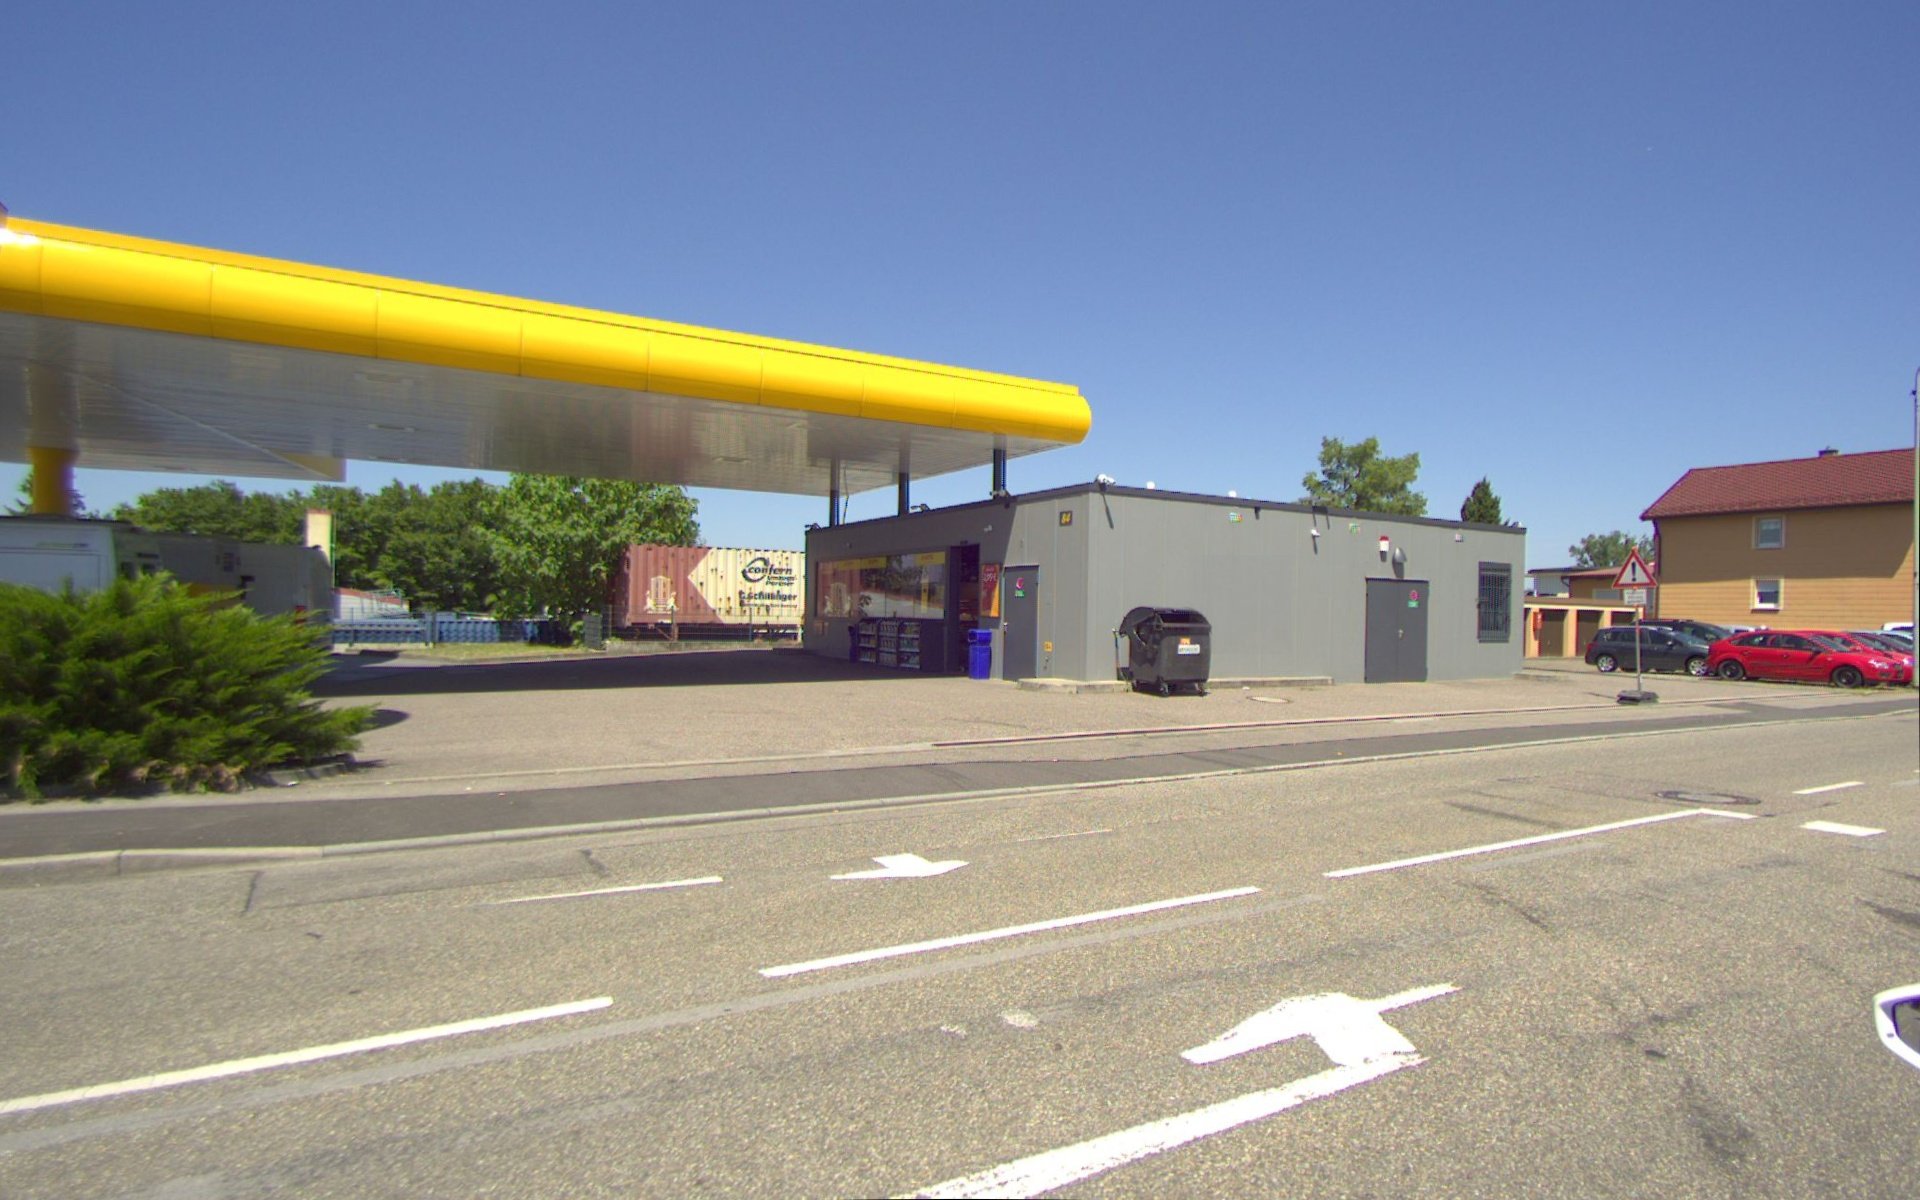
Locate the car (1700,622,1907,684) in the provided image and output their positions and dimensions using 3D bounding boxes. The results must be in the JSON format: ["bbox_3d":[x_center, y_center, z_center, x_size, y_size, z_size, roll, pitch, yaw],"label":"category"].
[{"bbox_3d":[23.606,1.449,28.272,1.807,1.463,4.103,2,0,-31],"label":"car"}]

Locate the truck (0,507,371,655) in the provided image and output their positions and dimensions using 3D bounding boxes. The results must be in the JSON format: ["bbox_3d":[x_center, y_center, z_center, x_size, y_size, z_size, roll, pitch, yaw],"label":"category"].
[{"bbox_3d":[-16.319,-0.339,20.756,6.491,2.633,2.918,2,0,-15],"label":"truck"}]

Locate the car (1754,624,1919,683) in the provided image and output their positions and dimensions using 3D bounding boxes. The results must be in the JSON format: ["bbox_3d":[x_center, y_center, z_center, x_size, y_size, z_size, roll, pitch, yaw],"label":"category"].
[{"bbox_3d":[25.727,1.516,29.295,1.873,1.477,3.642,2,0,-33],"label":"car"}]

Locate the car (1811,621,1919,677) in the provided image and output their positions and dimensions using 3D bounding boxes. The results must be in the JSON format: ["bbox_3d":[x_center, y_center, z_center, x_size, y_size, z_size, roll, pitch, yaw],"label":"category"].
[{"bbox_3d":[29.654,1.560,31.861,1.902,1.602,3.642,2,0,-33],"label":"car"}]

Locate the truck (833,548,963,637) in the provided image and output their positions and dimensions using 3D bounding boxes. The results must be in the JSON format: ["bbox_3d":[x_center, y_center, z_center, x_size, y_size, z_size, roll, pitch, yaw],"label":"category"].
[{"bbox_3d":[-2.889,-0.337,43.887,2.131,3.471,7.828,2,0,-31],"label":"truck"}]

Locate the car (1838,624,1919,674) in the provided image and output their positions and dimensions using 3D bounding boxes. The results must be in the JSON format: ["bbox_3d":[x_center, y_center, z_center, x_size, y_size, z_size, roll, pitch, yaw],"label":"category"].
[{"bbox_3d":[31.445,1.642,32.929,1.902,1.552,3.642,2,0,-33],"label":"car"}]

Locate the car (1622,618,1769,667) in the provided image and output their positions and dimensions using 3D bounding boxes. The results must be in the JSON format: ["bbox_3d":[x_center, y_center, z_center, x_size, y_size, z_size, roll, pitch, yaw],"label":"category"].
[{"bbox_3d":[25.134,1.433,34.416,1.873,1.477,3.642,2,0,-33],"label":"car"}]

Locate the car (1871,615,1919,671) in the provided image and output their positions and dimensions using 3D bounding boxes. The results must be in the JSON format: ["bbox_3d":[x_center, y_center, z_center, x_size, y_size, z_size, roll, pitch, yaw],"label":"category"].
[{"bbox_3d":[35.034,1.585,35.345,1.981,1.923,4.066,2,0,-35],"label":"car"}]

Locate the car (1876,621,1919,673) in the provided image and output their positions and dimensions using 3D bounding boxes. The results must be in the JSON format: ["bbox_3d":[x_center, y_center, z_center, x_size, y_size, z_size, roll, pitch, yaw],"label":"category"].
[{"bbox_3d":[33.500,1.647,33.747,1.902,1.694,3.642,2,0,-33],"label":"car"}]

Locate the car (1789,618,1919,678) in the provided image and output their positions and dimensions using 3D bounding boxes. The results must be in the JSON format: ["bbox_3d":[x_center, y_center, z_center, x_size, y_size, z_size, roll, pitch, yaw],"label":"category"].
[{"bbox_3d":[27.882,1.447,30.612,1.862,1.626,3.642,2,0,-33],"label":"car"}]

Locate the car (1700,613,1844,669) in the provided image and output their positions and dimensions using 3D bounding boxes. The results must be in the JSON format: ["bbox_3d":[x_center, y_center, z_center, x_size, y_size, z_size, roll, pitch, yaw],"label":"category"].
[{"bbox_3d":[29.361,1.461,36.422,1.902,1.799,3.642,2,0,-33],"label":"car"}]

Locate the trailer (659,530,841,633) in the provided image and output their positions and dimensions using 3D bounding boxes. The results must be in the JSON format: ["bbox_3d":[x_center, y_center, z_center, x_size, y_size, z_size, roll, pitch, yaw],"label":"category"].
[{"bbox_3d":[-7.188,-0.567,34.698,5.846,3.262,1.855,2,0,-31],"label":"trailer"}]

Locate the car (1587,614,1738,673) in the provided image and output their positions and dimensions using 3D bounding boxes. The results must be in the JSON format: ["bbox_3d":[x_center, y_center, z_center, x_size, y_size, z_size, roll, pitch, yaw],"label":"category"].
[{"bbox_3d":[23.031,1.393,33.038,1.873,1.732,3.641,2,0,-33],"label":"car"}]

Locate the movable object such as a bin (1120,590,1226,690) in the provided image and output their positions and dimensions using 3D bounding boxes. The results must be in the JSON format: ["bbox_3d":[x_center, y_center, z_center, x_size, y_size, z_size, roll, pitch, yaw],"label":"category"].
[{"bbox_3d":[3.608,0.655,17.016,1.411,1.538,0.947,1,5,-31],"label":"movable object such as a bin"}]

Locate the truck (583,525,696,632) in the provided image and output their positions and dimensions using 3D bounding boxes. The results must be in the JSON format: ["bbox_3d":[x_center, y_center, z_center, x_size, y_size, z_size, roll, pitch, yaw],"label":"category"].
[{"bbox_3d":[-10.432,-0.649,32.717,3.153,3.286,1.836,1,0,-31],"label":"truck"}]

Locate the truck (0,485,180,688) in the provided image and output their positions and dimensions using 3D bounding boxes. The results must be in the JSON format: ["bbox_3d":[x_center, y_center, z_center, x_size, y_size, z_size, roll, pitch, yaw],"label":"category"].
[{"bbox_3d":[-14.786,-0.268,13.248,6.638,2.633,2.228,3,0,-24],"label":"truck"}]
